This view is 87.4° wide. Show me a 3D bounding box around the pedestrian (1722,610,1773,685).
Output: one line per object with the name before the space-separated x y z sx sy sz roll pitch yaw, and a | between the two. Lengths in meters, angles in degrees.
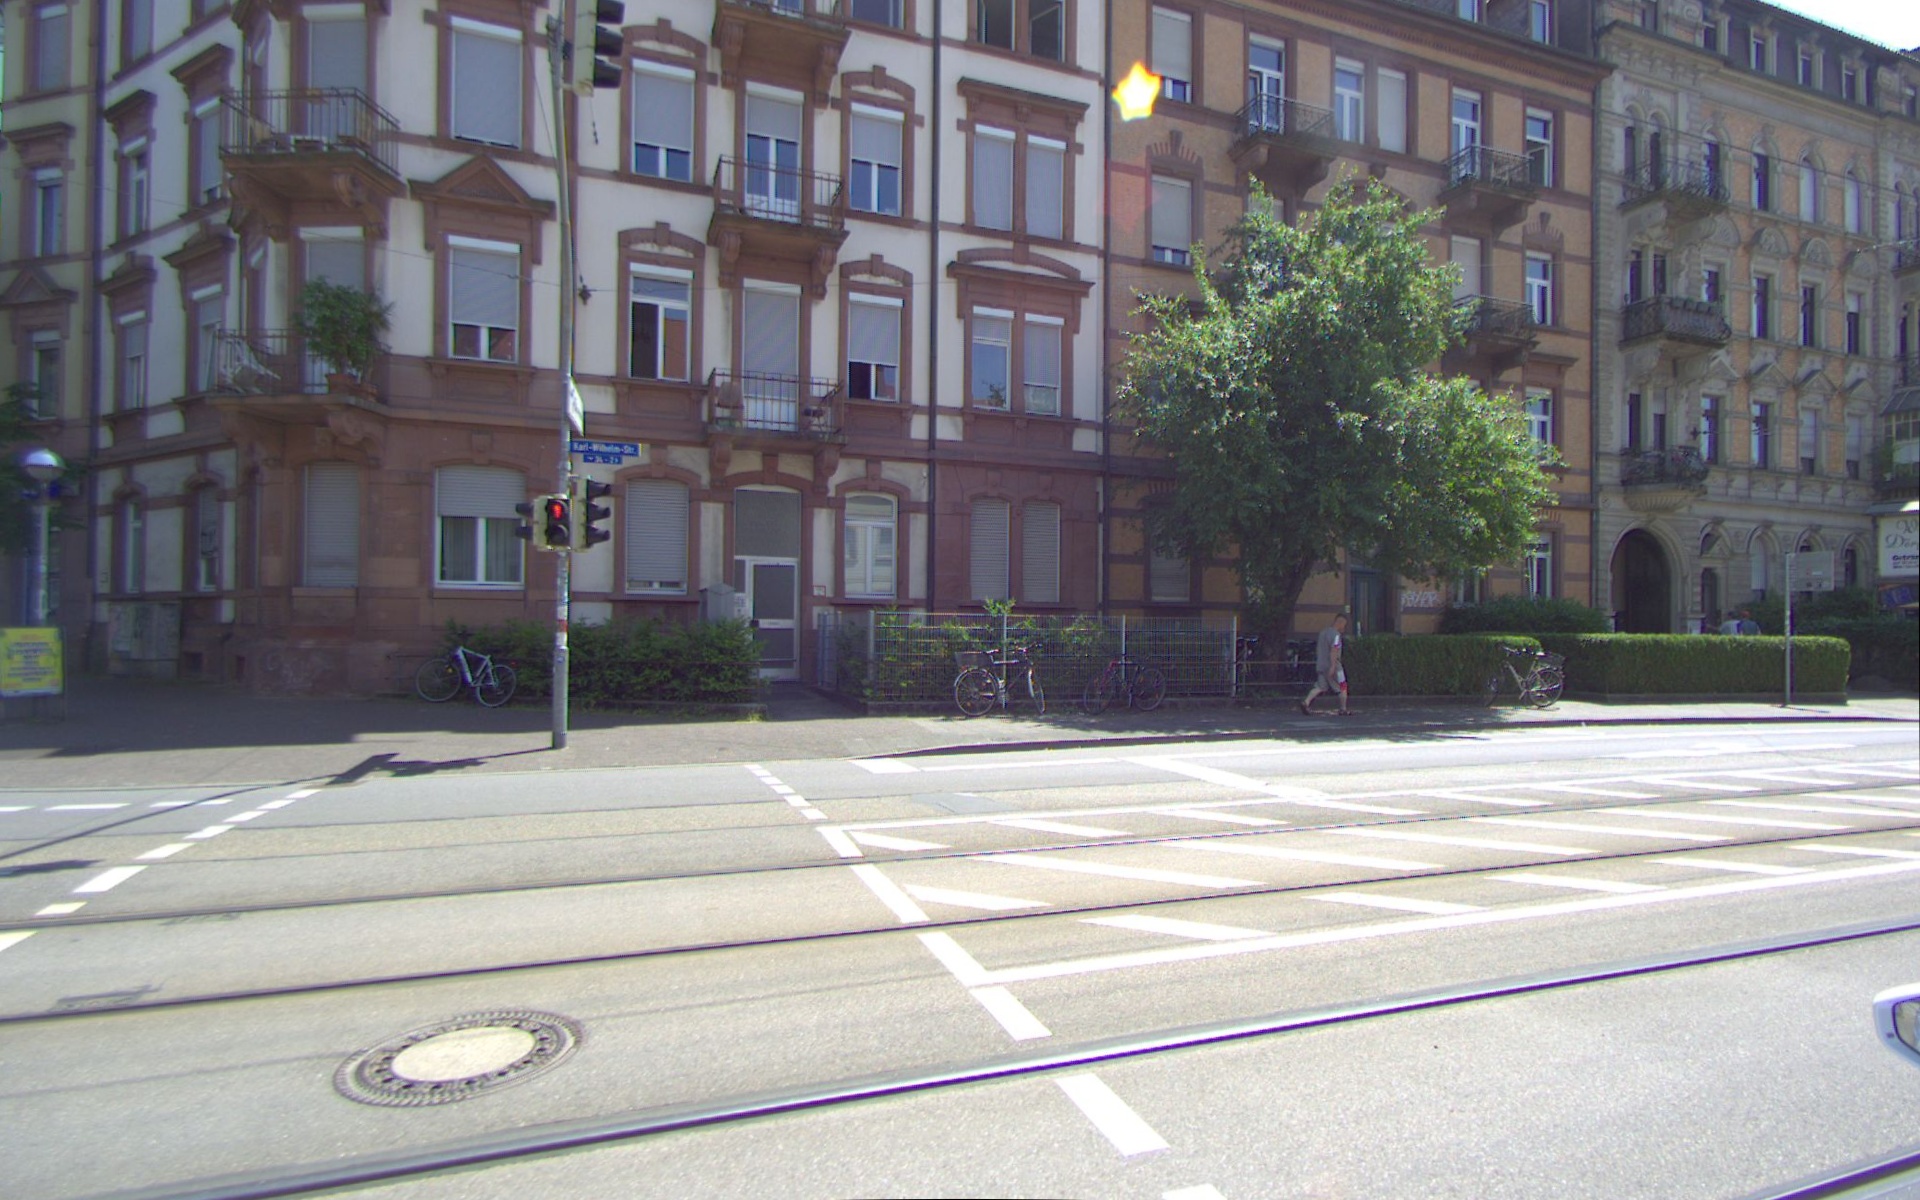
pedestrian | 20.375 1.212 26.004 0.800 1.881 0.878 0 -1 21

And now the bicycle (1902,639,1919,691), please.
bicycle | 23.403 1.573 23.521 0.560 1.244 1.866 1 1 -23

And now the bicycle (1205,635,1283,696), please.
bicycle | 4.961 1.127 17.653 0.487 1.009 1.645 1 -1 -19

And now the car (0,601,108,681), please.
car | -26.141 1.083 27.379 1.961 2.094 4.589 0 -1 -1

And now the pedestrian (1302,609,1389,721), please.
pedestrian | 6.140 1.012 16.032 0.996 1.723 0.872 1 -1 -15

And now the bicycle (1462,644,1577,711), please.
bicycle | 9.915 1.360 17.792 1.900 1.108 0.638 1 1 -18

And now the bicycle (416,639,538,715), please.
bicycle | -7.495 1.176 15.586 1.885 1.122 0.467 0 -1 18

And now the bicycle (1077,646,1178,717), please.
bicycle | 2.646 1.272 15.879 1.539 1.070 0.459 1 -1 -18

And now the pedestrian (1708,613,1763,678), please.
pedestrian | 21.069 1.228 27.308 0.807 1.723 0.912 0 -1 6

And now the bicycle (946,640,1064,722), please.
bicycle | 0.674 1.200 15.093 1.688 1.184 0.572 1 -1 -18
